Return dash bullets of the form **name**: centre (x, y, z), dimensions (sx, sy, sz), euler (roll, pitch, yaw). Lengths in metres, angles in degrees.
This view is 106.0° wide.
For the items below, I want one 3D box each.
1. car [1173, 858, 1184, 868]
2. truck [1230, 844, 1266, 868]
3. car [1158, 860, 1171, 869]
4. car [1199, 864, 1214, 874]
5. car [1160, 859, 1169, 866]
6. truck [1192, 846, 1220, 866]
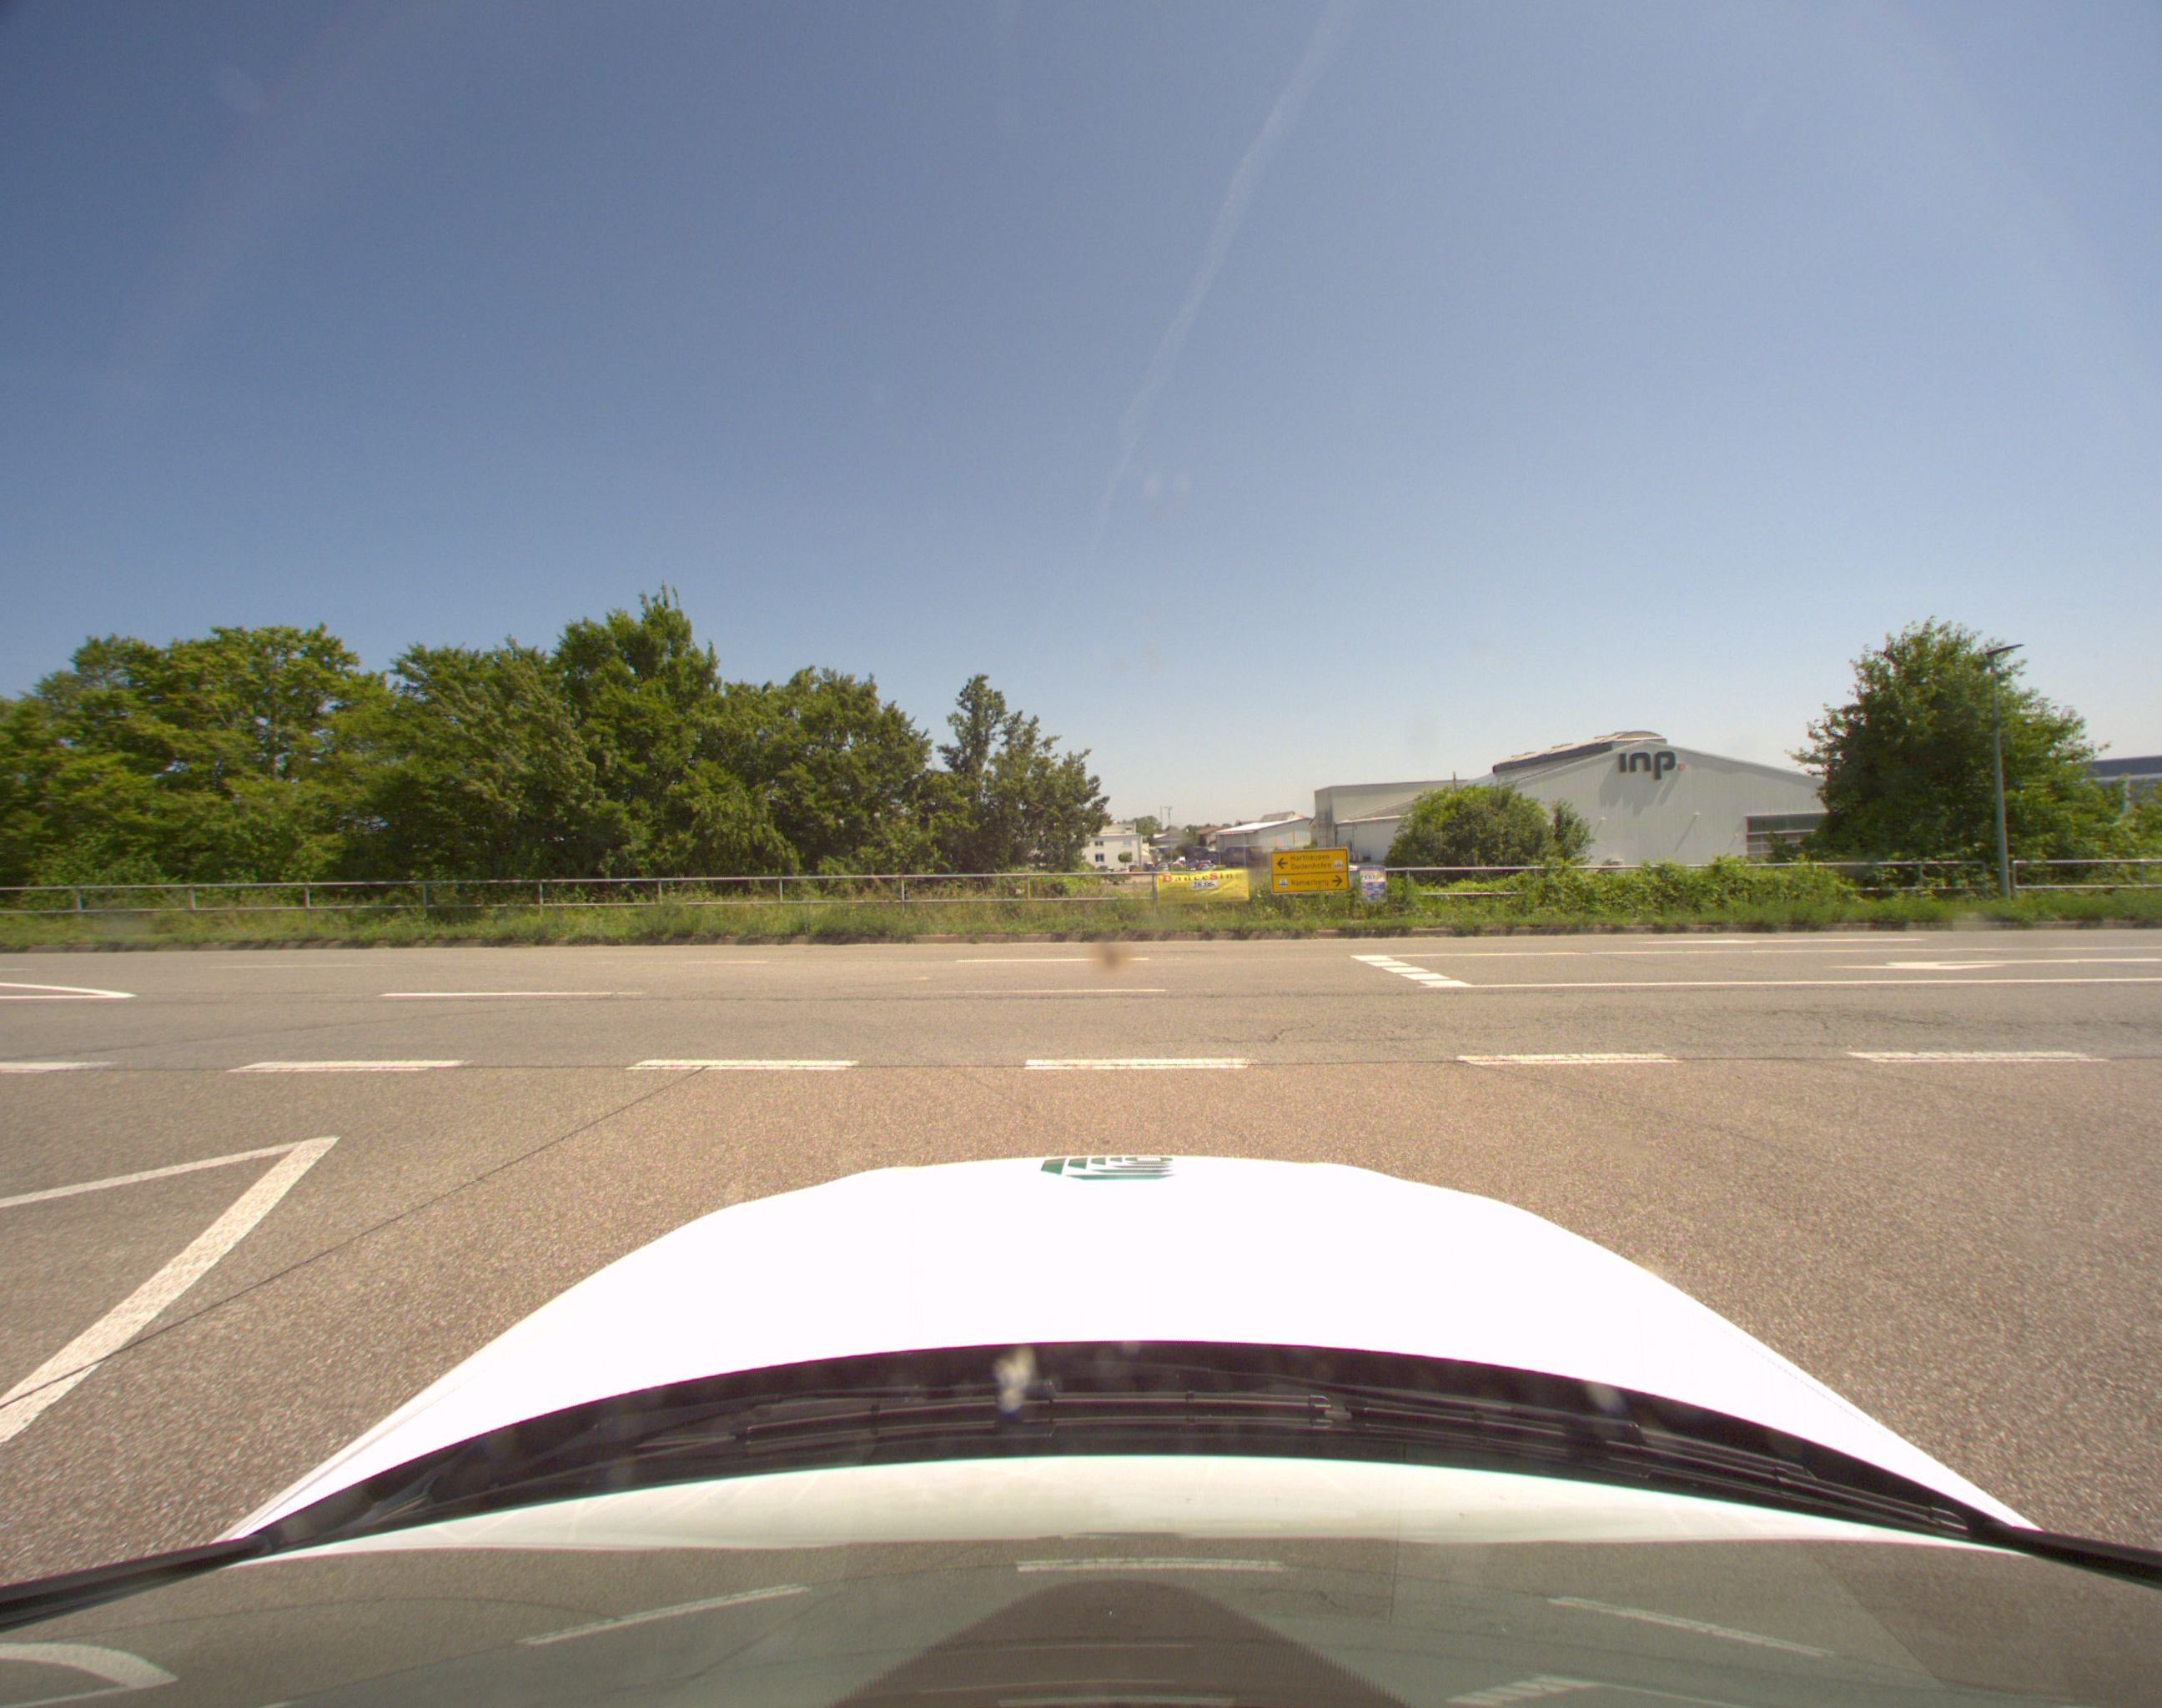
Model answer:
- **car**: centre (21.299, 1.950, 177.991), dimensions (1.713, 2.013, 3.995), euler (-1, 0, -3)
- **truck**: centre (31.465, 0.413, 154.020), dimensions (3.698, 4.311, 13.332), euler (-1, 0, -2)
- **car**: centre (17.630, 2.163, 171.918), dimensions (1.990, 1.731, 4.856), euler (-1, 0, -4)
- **car**: centre (21.245, 2.527, 137.601), dimensions (1.680, 1.363, 3.831), euler (-4, 0, -3)
- **car**: centre (18.460, 1.868, 181.013), dimensions (1.448, 1.350, 3.311), euler (-1, 0, -4)
- **truck**: centre (28.761, 0.467, 188.476), dimensions (3.404, 4.311, 14.577), euler (-1, 0, -3)
